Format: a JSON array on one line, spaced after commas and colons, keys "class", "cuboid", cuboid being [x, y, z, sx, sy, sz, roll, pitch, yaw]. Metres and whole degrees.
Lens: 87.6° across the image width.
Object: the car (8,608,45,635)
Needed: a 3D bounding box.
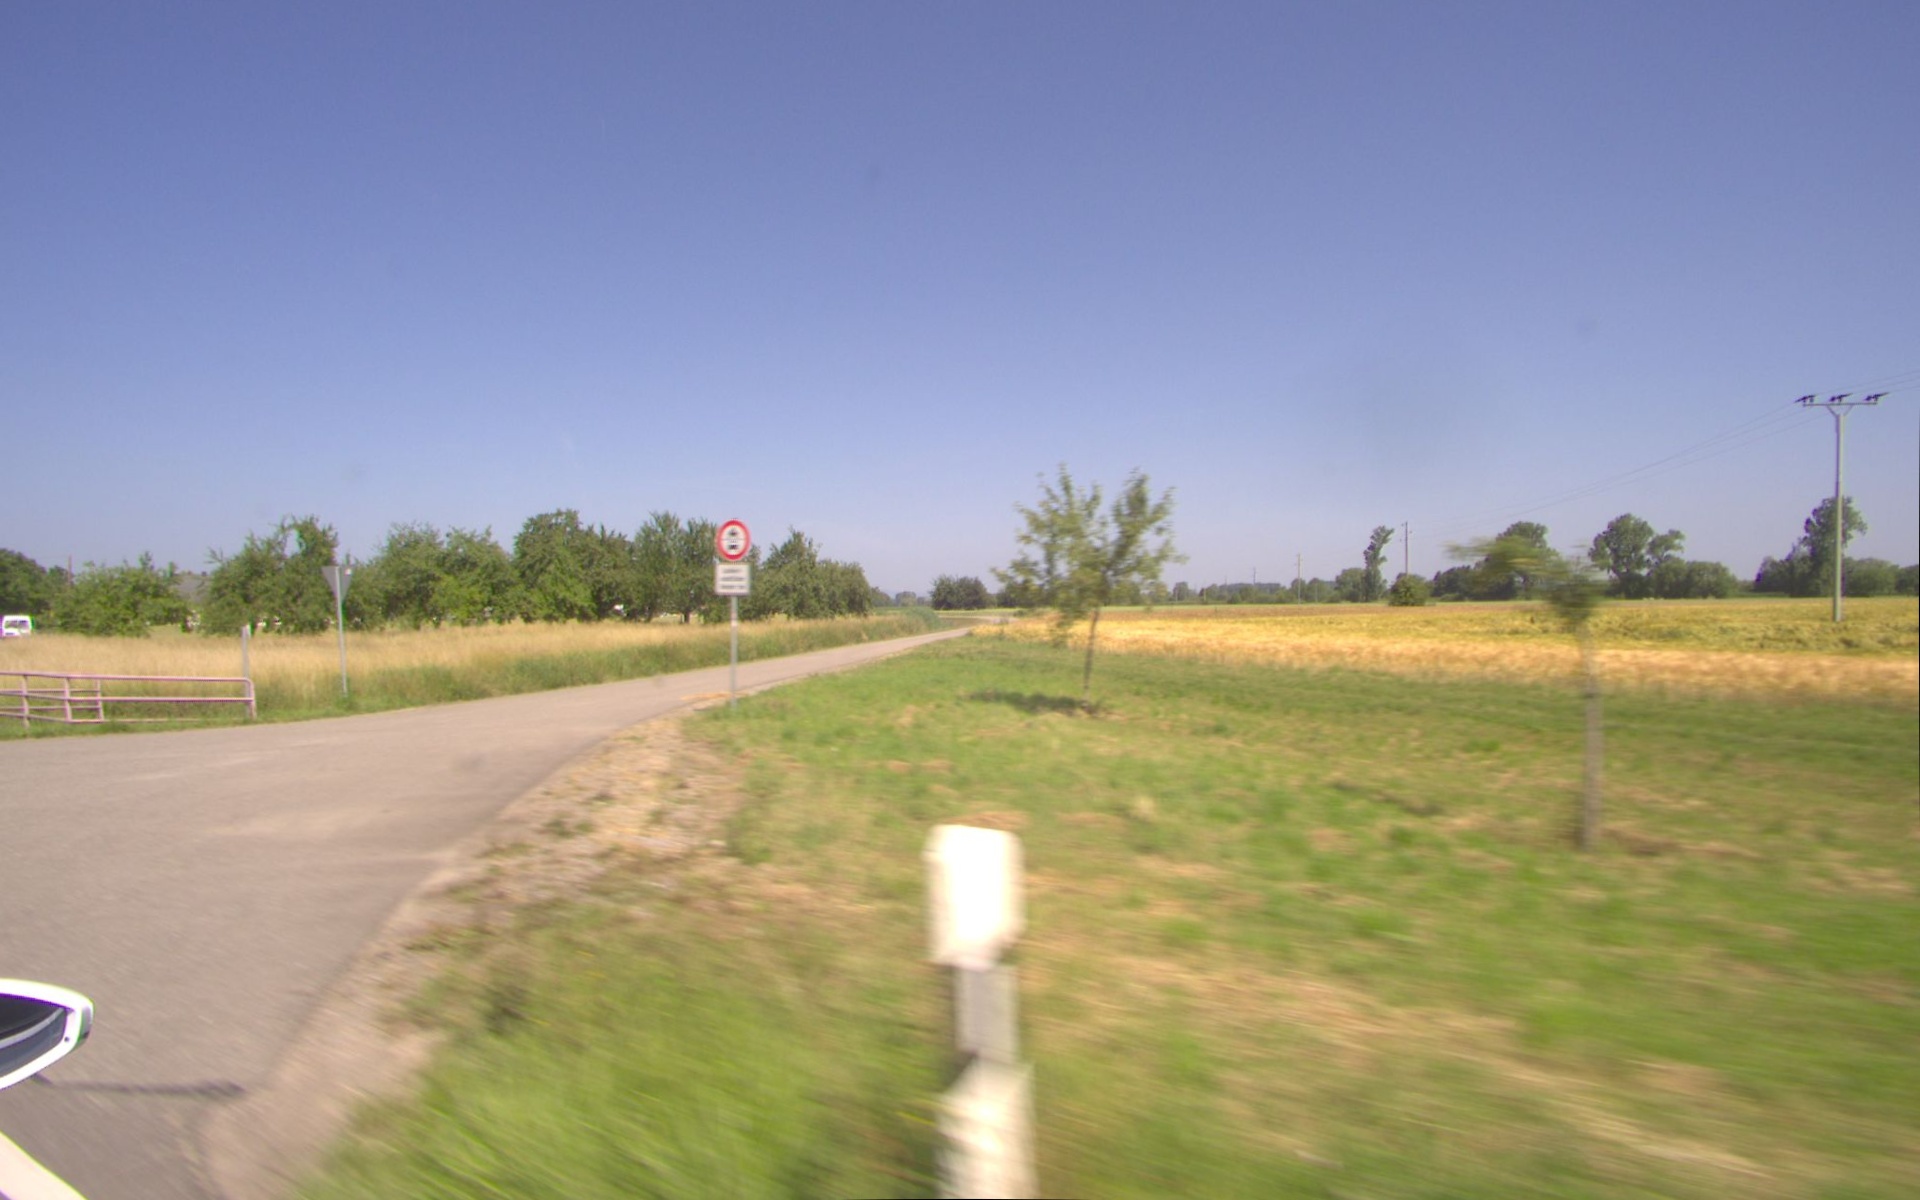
[{"class": "car", "cuboid": [-83.271, 1.930, 89.401, 1.977, 2.296, 4.688, -1, 0, -38]}]
